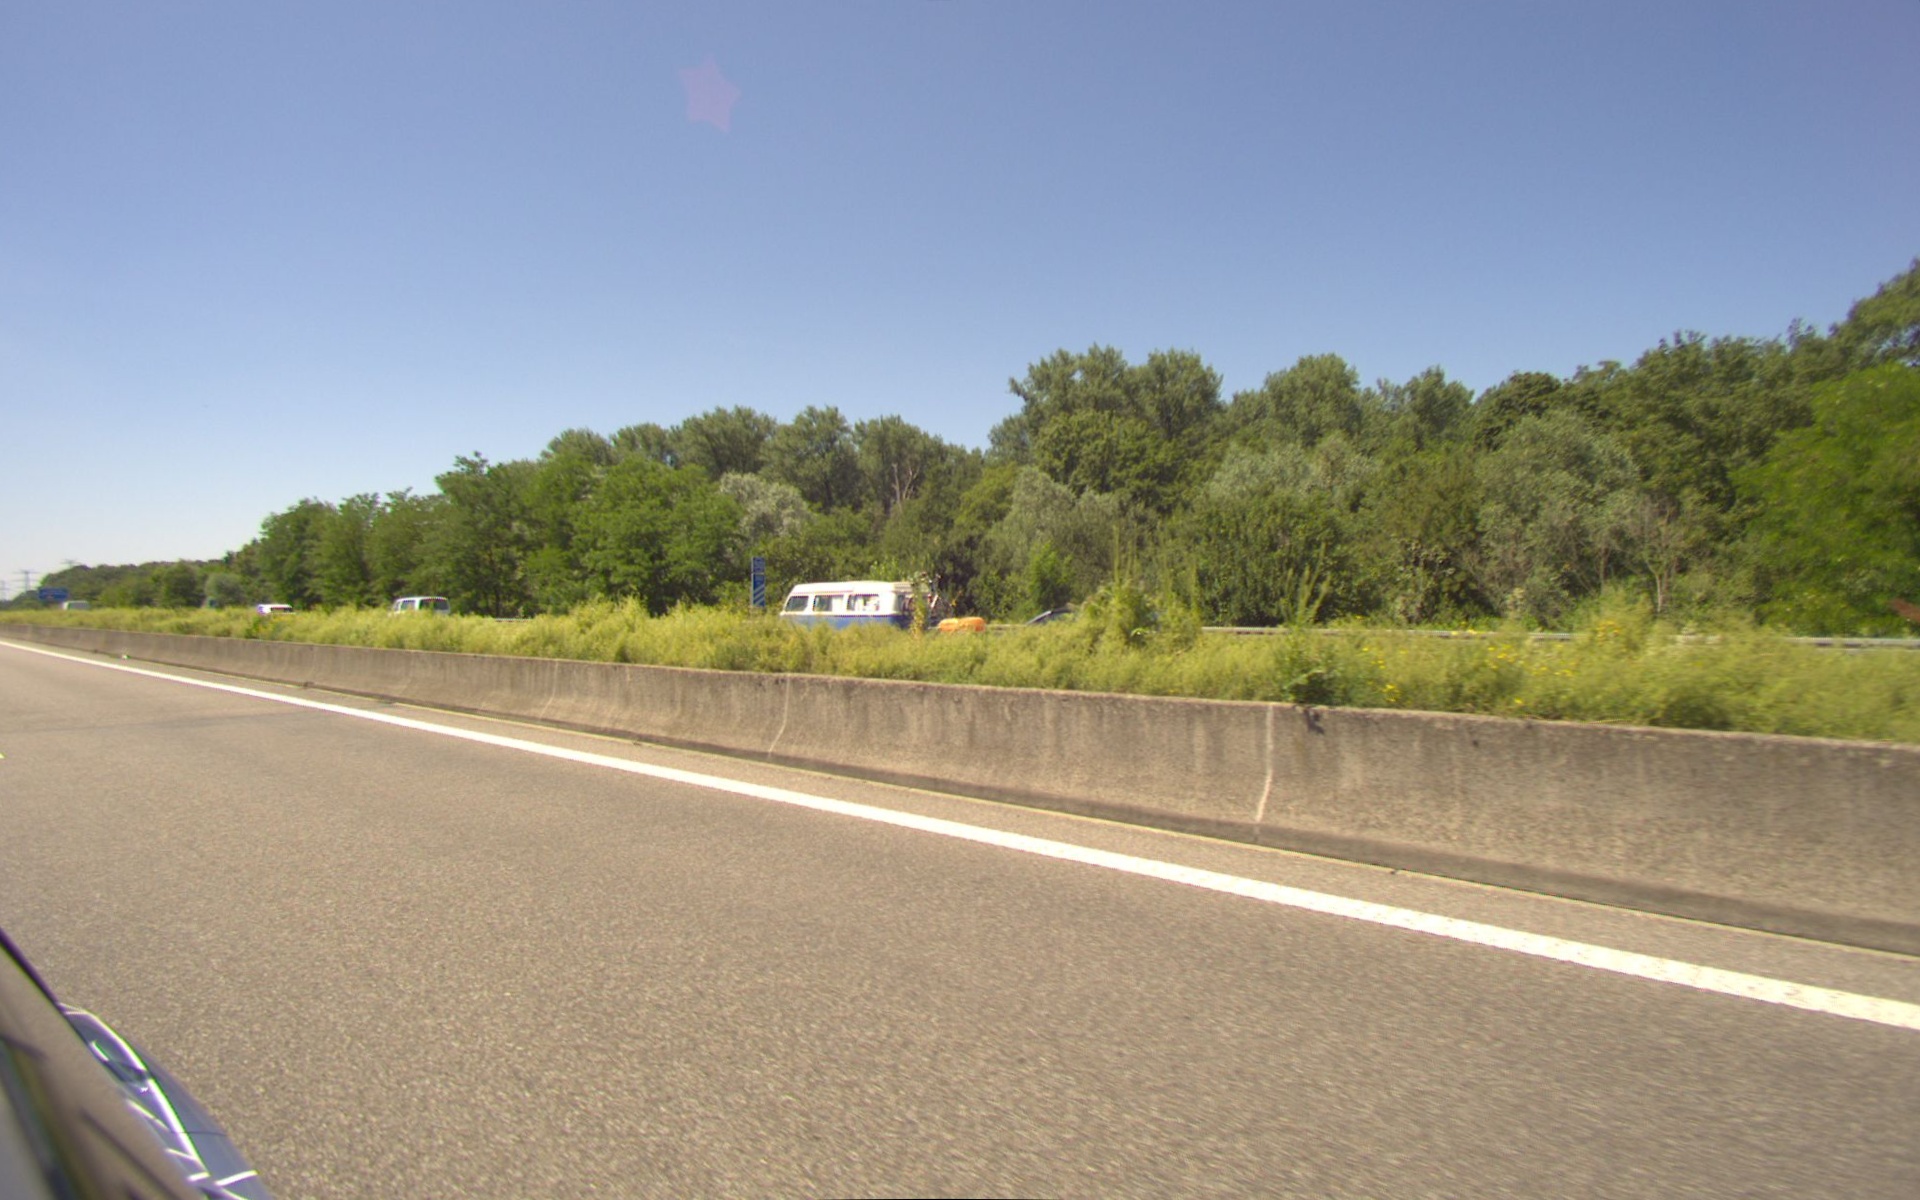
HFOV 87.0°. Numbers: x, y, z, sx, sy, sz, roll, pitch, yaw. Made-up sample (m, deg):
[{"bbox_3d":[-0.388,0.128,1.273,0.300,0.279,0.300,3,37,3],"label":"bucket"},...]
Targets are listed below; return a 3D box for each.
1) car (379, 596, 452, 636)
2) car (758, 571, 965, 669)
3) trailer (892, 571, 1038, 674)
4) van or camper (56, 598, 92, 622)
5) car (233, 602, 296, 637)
[{"bbox_3d":[-28.948,0.830,53.759,4.618,2.029,1.972,-1,0,42],"label":"car"},{"bbox_3d":[-2.423,0.444,23.963,4.969,2.098,2.102,-1,-1,42],"label":"car"},{"bbox_3d":[0.110,0.451,21.698,2.368,2.041,2.081,-1,0,41],"label":"trailer"},{"bbox_3d":[-90.929,1.003,103.852,6.761,2.405,2.225,-1,-1,44],"label":"van or camper"},{"bbox_3d":[-38.860,1.059,56.529,4.721,1.914,1.884,0,0,42],"label":"car"}]
